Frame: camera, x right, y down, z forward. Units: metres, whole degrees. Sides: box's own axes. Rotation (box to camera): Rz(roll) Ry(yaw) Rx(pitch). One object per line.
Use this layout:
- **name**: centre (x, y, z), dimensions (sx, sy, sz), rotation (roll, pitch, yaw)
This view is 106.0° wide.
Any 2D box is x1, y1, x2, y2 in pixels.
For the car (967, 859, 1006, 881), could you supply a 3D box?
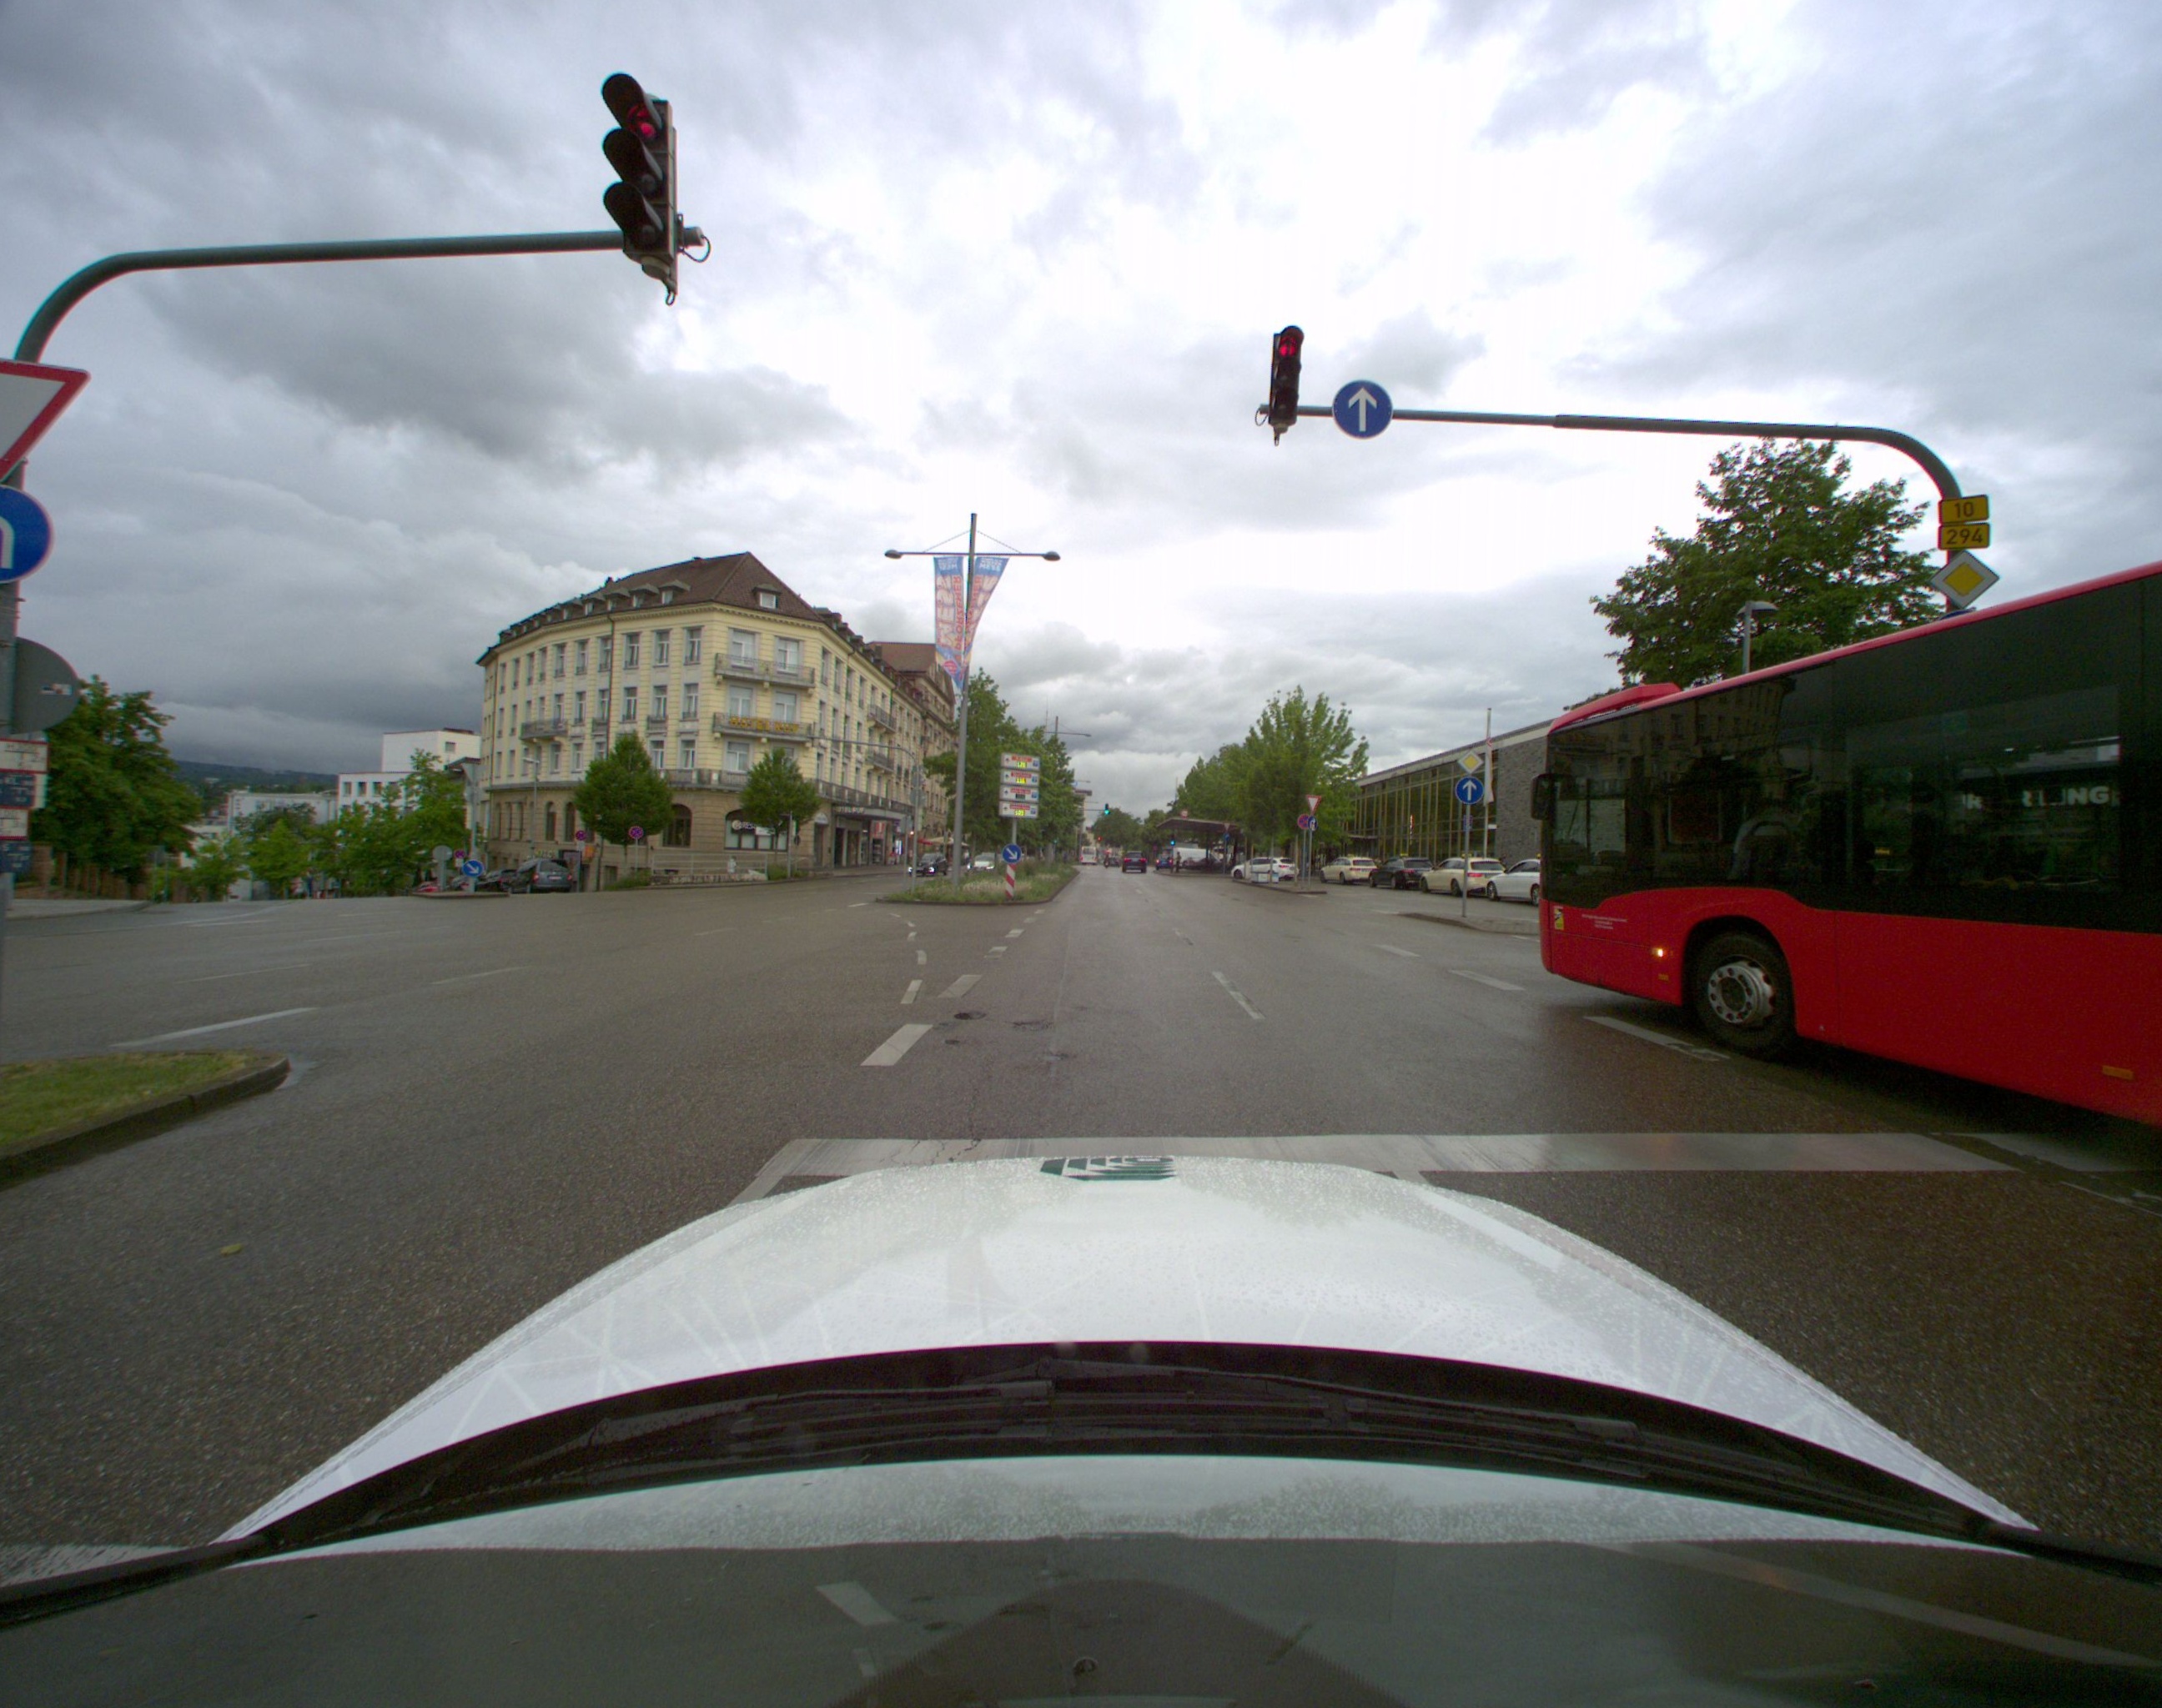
- **car**: centre (-6.386, 1.075, 55.419), dimensions (1.716, 1.381, 4.865), rotation (0, 0, 4)

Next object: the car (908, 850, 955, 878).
- **car**: centre (-9.850, 0.624, 53.798), dimensions (1.761, 1.530, 4.090), rotation (2, 4, 9)

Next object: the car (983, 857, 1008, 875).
- **car**: centre (-7.823, 1.089, 74.585), dimensions (1.624, 1.476, 4.029), rotation (-1, 0, 2)

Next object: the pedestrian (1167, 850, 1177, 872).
- **pedestrian**: centre (7.427, 0.603, 66.559), dimensions (0.717, 1.791, 0.663), rotation (0, 0, -10)

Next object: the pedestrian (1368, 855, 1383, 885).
- **pedestrian**: centre (17.110, 0.920, 47.374), dimensions (0.563, 1.710, 0.715), rotation (1, 0, -3)

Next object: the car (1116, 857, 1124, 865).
- **car**: centre (7.890, 1.406, 164.570), dimensions (1.702, 1.474, 4.001), rotation (0, 0, 2)

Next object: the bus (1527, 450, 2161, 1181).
- **bus**: centre (6.060, -0.166, 3.613), dimensions (2.733, 3.174, 10.196), rotation (0, 0, 1)

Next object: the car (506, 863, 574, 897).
- **car**: centre (-27.105, 1.275, 40.774), dimensions (3.949, 1.568, 1.812), rotation (0, 0, 41)

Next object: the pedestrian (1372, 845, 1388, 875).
- **pedestrian**: centre (20.110, 0.385, 54.799), dimensions (0.767, 2.014, 0.828), rotation (0, 0, 0)

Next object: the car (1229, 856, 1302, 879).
- **car**: centre (11.482, 0.792, 50.948), dimensions (1.788, 1.385, 4.318), rotation (0, 0, -39)

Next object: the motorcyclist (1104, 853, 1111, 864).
- **motorcyclist**: centre (2.955, 0.504, 91.301), dimensions (0.761, 1.331, 0.867), rotation (0, 0, 2)

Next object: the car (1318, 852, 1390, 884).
- **car**: centre (14.677, 0.719, 44.100), dimensions (1.990, 1.600, 4.814), rotation (0, 0, -5)

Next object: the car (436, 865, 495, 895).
- **car**: centre (-36.316, 1.495, 48.036), dimensions (3.864, 1.640, 1.805), rotation (0, 0, 37)

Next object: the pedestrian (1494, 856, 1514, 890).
- **pedestrian**: centre (20.149, 0.896, 38.805), dimensions (0.563, 1.646, 0.715), rotation (0, 0, -3)

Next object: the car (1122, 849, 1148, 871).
- **car**: centre (4.604, 0.523, 69.908), dimensions (1.986, 1.806, 4.691), rotation (0, 0, 2)

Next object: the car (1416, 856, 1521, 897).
- **car**: centre (14.782, 0.793, 31.379), dimensions (1.840, 1.452, 4.666), rotation (0, 0, 0)

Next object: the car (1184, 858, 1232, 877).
- **car**: centre (12.817, 1.392, 82.142), dimensions (4.348, 1.857, 1.988), rotation (0, 0, -18)

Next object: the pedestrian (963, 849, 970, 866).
- **pedestrian**: centre (-11.773, 0.345, 83.809), dimensions (0.573, 1.732, 0.609), rotation (0, 0, 1)

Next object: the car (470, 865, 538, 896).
- **car**: centre (-31.974, 1.419, 45.115), dimensions (3.948, 1.640, 2.013), rotation (-1, -1, 37)

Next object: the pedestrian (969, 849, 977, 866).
- **pedestrian**: centre (-11.098, 0.341, 83.799), dimensions (0.672, 1.701, 0.634), rotation (0, 0, 1)

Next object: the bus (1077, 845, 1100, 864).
- **bus**: centre (1.469, 0.044, 147.257), dimensions (3.746, 3.209, 15.531), rotation (0, 0, 2)

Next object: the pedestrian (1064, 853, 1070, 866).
- **pedestrian**: centre (-1.829, 0.722, 105.095), dimensions (0.754, 1.701, 0.561), rotation (0, 0, 8)

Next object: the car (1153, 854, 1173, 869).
- **car**: centre (8.555, 0.762, 85.380), dimensions (1.809, 1.530, 4.001), rotation (0, 0, 2)

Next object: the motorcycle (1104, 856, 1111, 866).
- **motorcycle**: centre (2.955, 0.766, 91.270), dimensions (0.763, 1.077, 2.176), rotation (0, 0, 2)

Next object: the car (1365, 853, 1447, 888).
- **car**: centre (14.880, 0.717, 37.605), dimensions (1.907, 1.524, 4.741), rotation (0, 0, 0)

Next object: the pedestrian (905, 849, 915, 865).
- **pedestrian**: centre (-15.828, 0.265, 75.373), dimensions (0.666, 1.510, 0.513), rotation (0, -1, -36)

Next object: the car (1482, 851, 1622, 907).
- **car**: centre (14.642, 0.726, 25.660), dimensions (1.768, 1.589, 4.615), rotation (0, 0, 0)

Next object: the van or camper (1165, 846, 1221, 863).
- **van or camper**: centre (14.135, 0.089, 102.658), dimensions (6.787, 2.014, 2.366), rotation (0, -1, -25)

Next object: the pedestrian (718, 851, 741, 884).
- **pedestrian**: centre (-20.186, 0.788, 46.812), dimensions (0.860, 1.878, 1.023), rotation (0, 0, 1)

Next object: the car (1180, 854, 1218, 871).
- **car**: centre (14.021, 0.982, 96.503), dimensions (3.998, 2.014, 1.988), rotation (0, 0, -18)

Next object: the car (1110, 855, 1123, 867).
- **car**: centre (4.719, 0.926, 109.292), dimensions (1.702, 1.448, 4.001), rotation (0, 0, 2)

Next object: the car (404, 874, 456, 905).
- **car**: centre (-41.192, 2.212, 51.496), dimensions (3.575, 1.812, 1.788), rotation (0, 0, 38)

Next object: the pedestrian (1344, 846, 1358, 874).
- **pedestrian**: centre (19.187, 0.422, 57.894), dimensions (0.767, 2.014, 0.828), rotation (0, 0, 0)

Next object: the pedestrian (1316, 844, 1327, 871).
- **pedestrian**: centre (21.636, 0.339, 73.324), dimensions (0.839, 2.411, 0.863), rotation (0, 0, 3)
